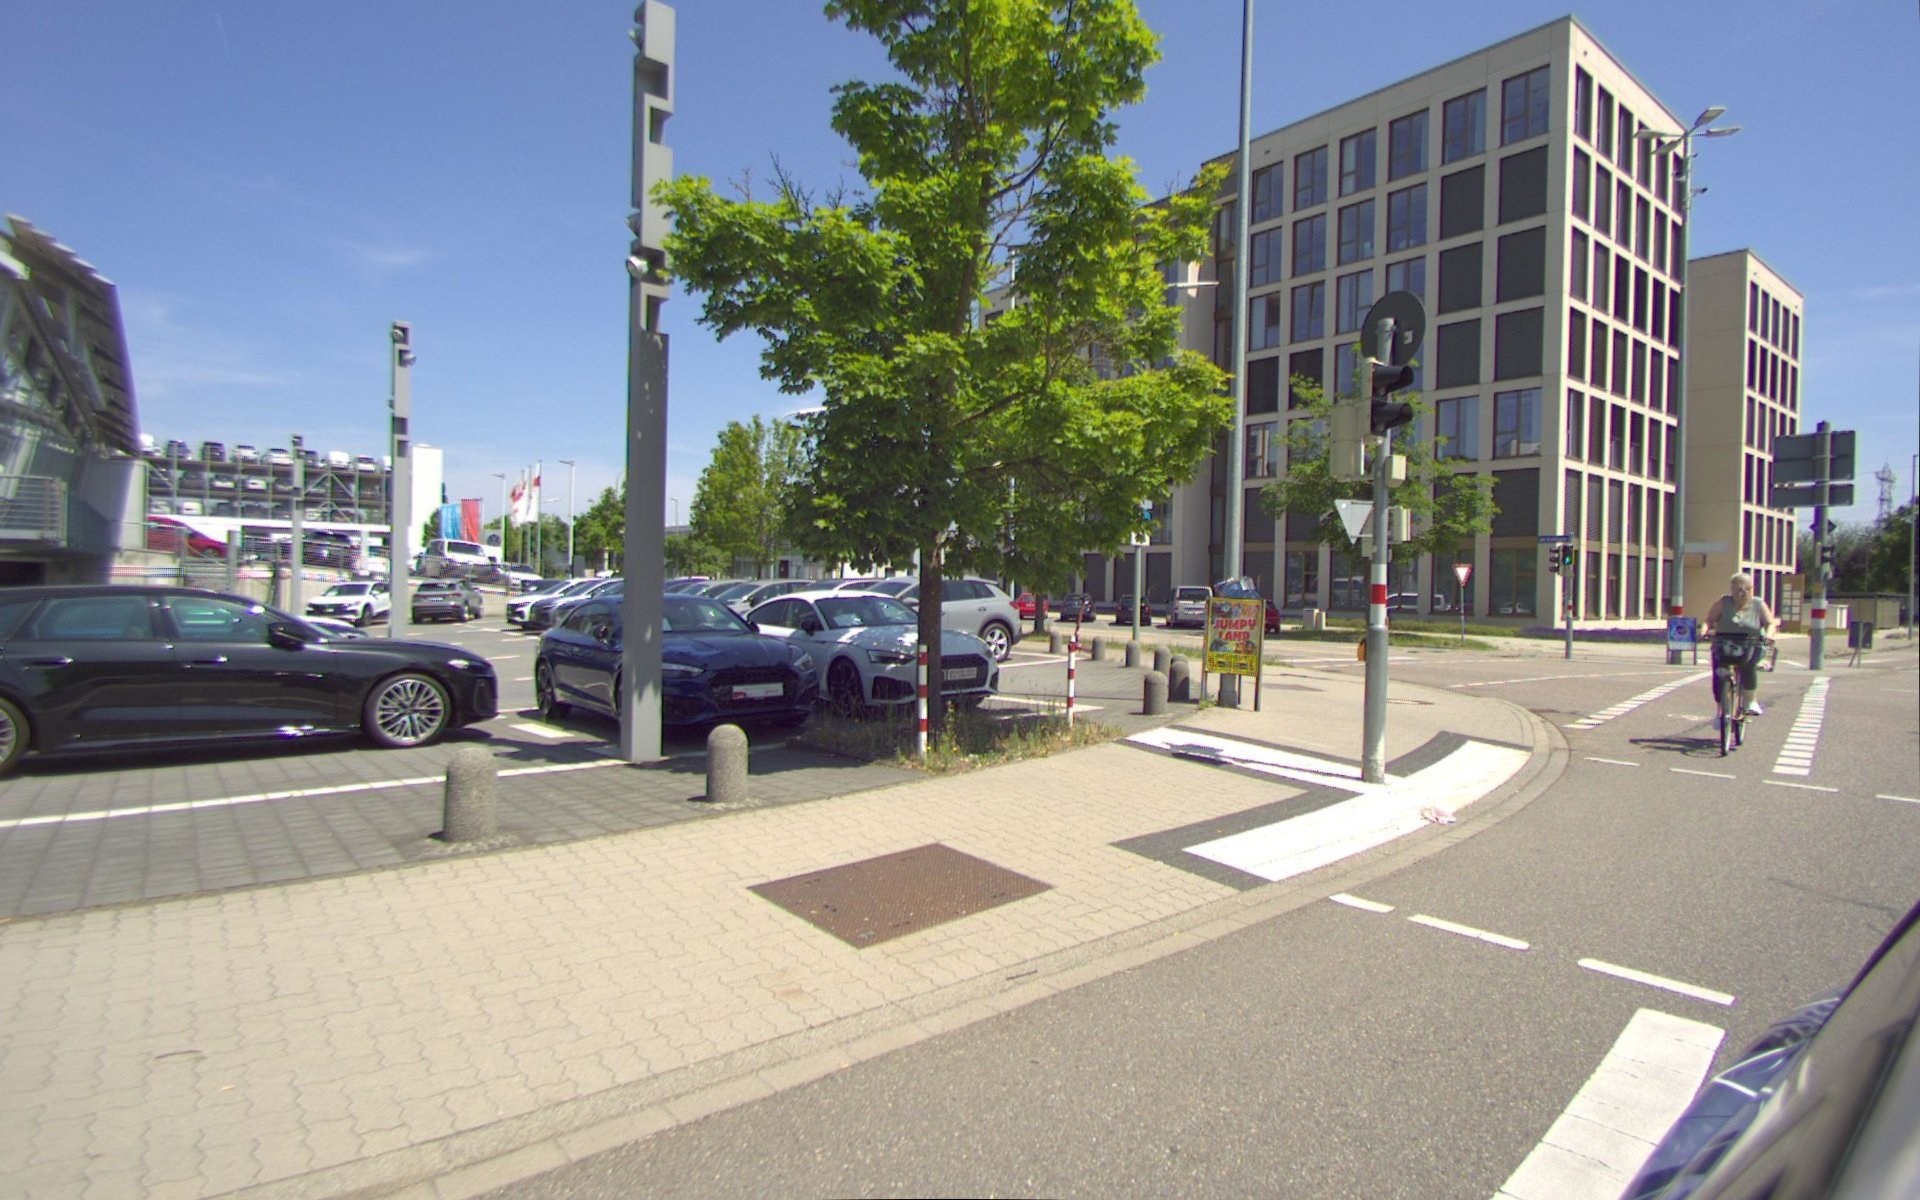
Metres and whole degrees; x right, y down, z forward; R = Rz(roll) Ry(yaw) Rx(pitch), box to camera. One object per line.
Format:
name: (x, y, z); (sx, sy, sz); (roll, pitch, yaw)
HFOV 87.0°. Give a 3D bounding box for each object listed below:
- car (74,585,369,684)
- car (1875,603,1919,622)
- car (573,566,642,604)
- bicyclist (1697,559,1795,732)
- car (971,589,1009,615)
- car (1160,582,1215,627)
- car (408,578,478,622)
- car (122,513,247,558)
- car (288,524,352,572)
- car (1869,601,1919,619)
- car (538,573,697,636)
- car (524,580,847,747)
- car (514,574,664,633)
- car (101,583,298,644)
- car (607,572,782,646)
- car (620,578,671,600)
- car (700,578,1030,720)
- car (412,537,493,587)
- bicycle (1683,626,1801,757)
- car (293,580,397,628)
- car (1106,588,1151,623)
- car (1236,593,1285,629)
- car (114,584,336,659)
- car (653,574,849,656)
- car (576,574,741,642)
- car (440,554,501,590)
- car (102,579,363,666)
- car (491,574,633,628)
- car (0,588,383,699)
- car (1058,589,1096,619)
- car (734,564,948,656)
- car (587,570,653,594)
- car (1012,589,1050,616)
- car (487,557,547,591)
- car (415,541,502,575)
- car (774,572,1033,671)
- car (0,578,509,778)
car: (-13.478, 0.589, 18.736); (4.227, 1.648, 1.880); (0, -1, -36)
car: (81.874, 1.084, 87.551); (3.812, 1.571, 1.715); (2, 1, 38)
car: (-16.941, -0.732, 48.502); (1.877, 1.716, 4.588); (1, 1, -36)
bicyclist: (7.810, 0.431, 10.054); (0.811, 1.626, 0.628); (1, -2, -43)
car: (1.718, 0.083, 57.007); (1.842, 1.392, 3.993); (1, 1, 6)
car: (10.503, 0.191, 47.042); (1.887, 1.910, 4.924); (1, 0, 6)
car: (-19.364, -0.040, 38.023); (1.653, 1.523, 3.810); (-1, 2, -17)
car: (-33.958, -2.780, 44.379); (1.907, 1.743, 4.084); (2, 1, 43)
car: (-25.732, -2.031, 40.605); (1.877, 1.729, 4.588); (1, 1, -36)
car: (82.851, 0.888, 89.234); (3.812, 1.411, 1.715); (2, 1, 38)
car: (-9.744, 0.149, 28.967); (3.932, 1.676, 1.845); (0, -2, -44)
car: (-3.071, 0.575, 10.726); (1.835, 1.408, 4.104); (0, -1, -39)
car: (-11.319, 0.123, 31.006); (3.932, 1.676, 1.845); (0, -2, -44)
car: (-18.546, 0.311, 24.829); (3.749, 1.364, 1.678); (1, 1, -37)
car: (-6.337, 0.241, 24.410); (3.754, 1.637, 1.637); (2, -1, -44)
car: (-31.193, -1.090, 100.457); (4.493, 2.039, 1.998); (1, -1, -39)
car: (-1.375, 0.533, 12.462); (1.835, 1.408, 4.602); (0, -1, -39)
car: (-22.088, -1.632, 43.958); (1.880, 1.991, 5.244); (1, 1, -41)
bicycle: (7.795, 0.851, 10.056); (1.863, 1.147, 0.628); (0, 0, -43)
car: (-21.998, 0.100, 36.361); (1.812, 1.590, 4.005); (1, 1, -9)
car: (8.181, 0.250, 49.338); (1.887, 1.609, 3.993); (1, 0, 6)
car: (13.079, 0.438, 44.259); (1.673, 1.450, 3.987); (1, 1, 11)
car: (-16.579, 0.444, 22.993); (3.926, 1.560, 1.856); (0, 1, -37)
car: (-4.616, 0.333, 22.638); (3.932, 1.676, 1.845); (0, -2, -44)
car: (-7.886, 0.197, 26.673); (3.846, 1.675, 1.630); (0, 0, -44)
car: (-26.278, -1.459, 54.261); (1.965, 1.728, 3.993); (1, -1, -41)
car: (-15.056, 0.442, 21.178); (4.262, 1.648, 1.880); (0, -1, -36)
car: (-13.012, 0.064, 33.211); (3.932, 1.676, 1.845); (0, -2, -44)
car: (-11.954, 0.620, 16.126); (4.627, 1.535, 1.880); (0, -1, -36)
car: (6.074, 0.194, 52.679); (1.887, 1.457, 3.993); (1, 1, 6)
car: (-2.365, 0.201, 20.487); (3.923, 1.676, 1.849); (0, -1, -36)
car: (-37.606, -1.965, 111.913); (6.570, 2.553, 2.217); (1, -1, -37)
car: (3.874, 0.118, 54.977); (1.887, 1.370, 3.993); (1, 1, 6)
car: (-24.551, -1.427, 56.034); (1.965, 1.728, 3.993); (1, -1, -41)
car: (-31.264, -2.601, 63.105); (4.508, 1.910, 1.911); (1, 1, -41)
car: (-0.947, 0.286, 18.363); (4.422, 1.577, 1.873); (-1, 3, -38)
car: (-6.569, 0.583, 8.772); (4.576, 1.438, 1.867); (0, -1, -38)
